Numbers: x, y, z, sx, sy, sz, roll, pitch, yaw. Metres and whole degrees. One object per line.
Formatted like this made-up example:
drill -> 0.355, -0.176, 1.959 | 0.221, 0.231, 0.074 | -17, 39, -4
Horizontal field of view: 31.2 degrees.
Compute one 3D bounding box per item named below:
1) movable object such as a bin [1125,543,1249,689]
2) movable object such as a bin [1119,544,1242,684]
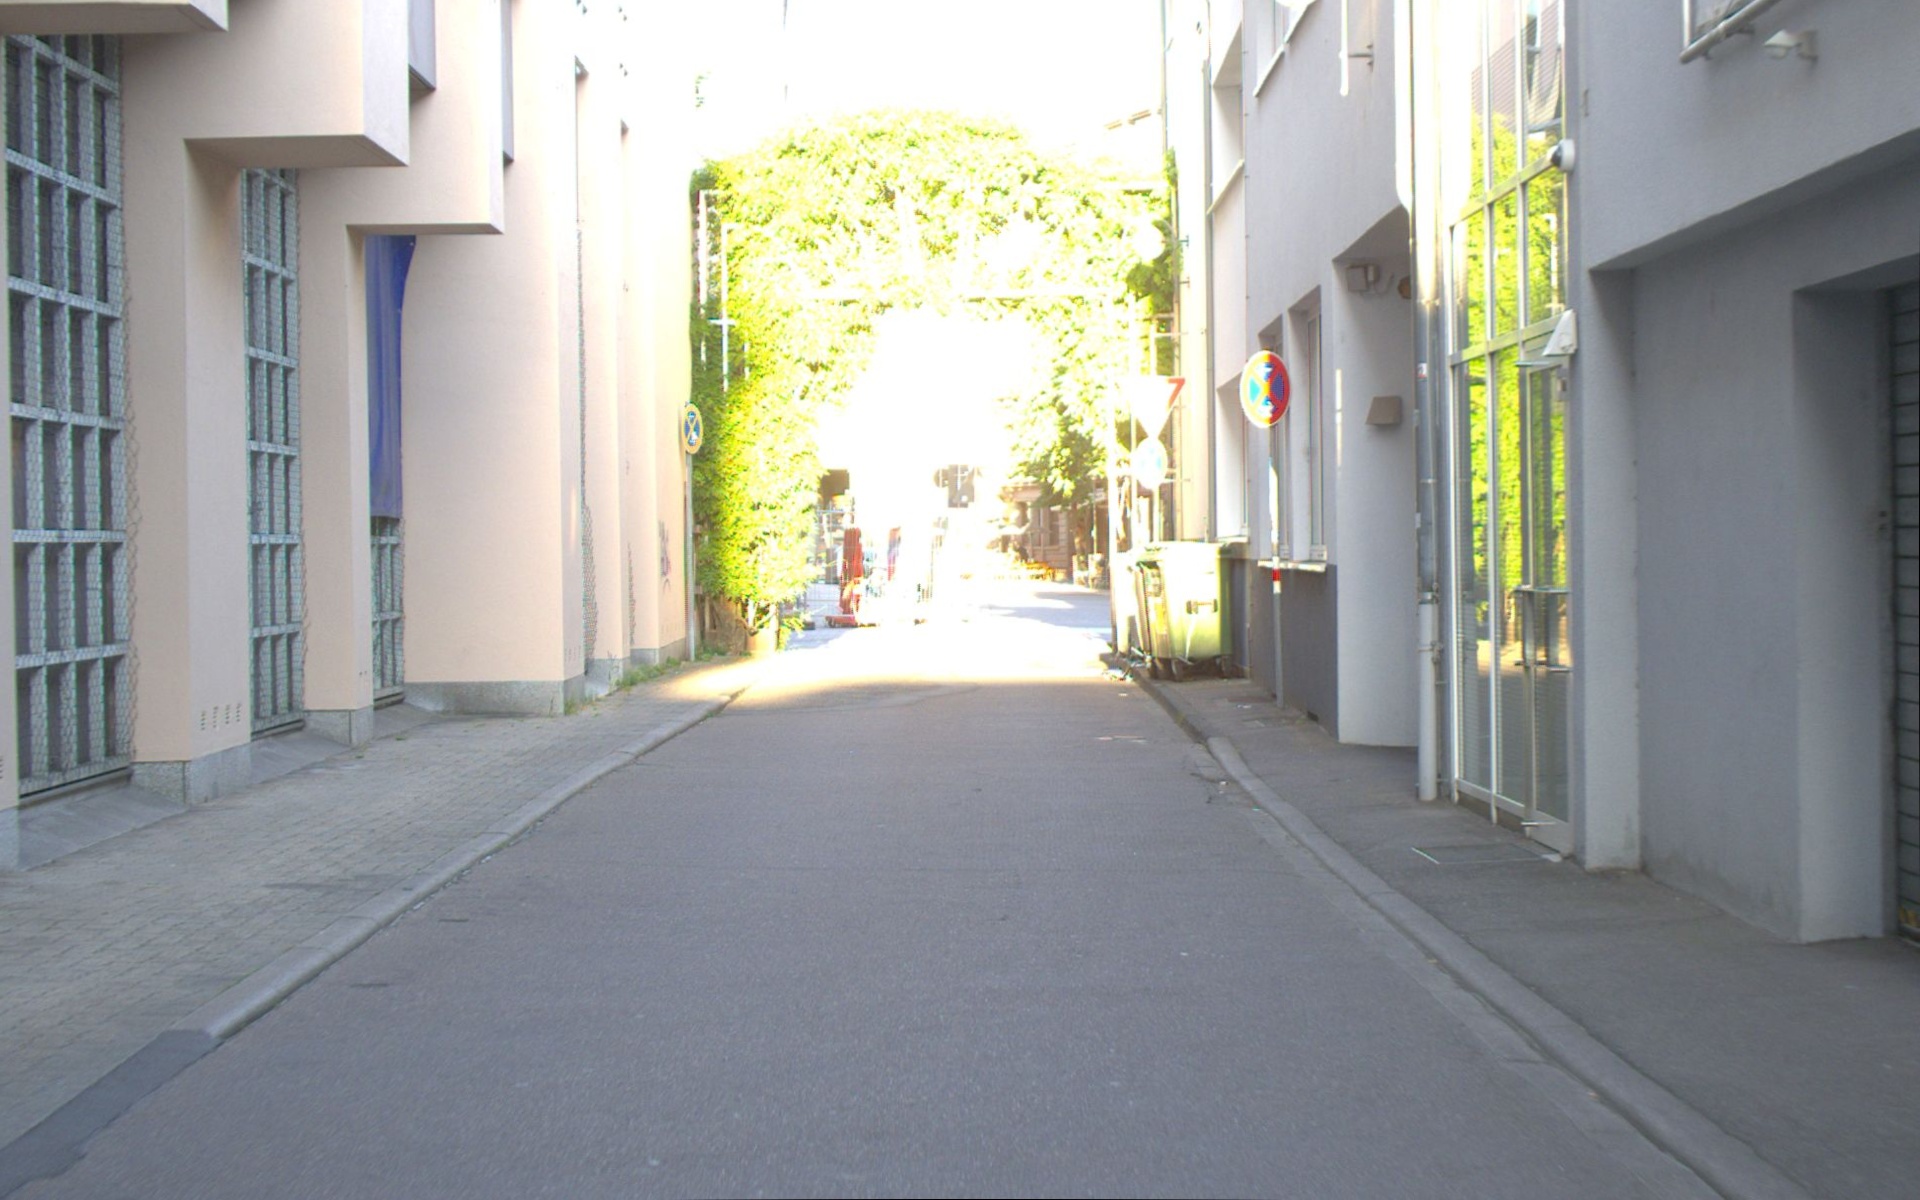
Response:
movable object such as a bin -> 2.223, 0.144, 33.885 | 0.937, 1.362, 1.342 | -3, 1, -6
movable object such as a bin -> 2.255, 0.132, 35.290 | 1.064, 1.362, 1.342 | -3, 1, -2
